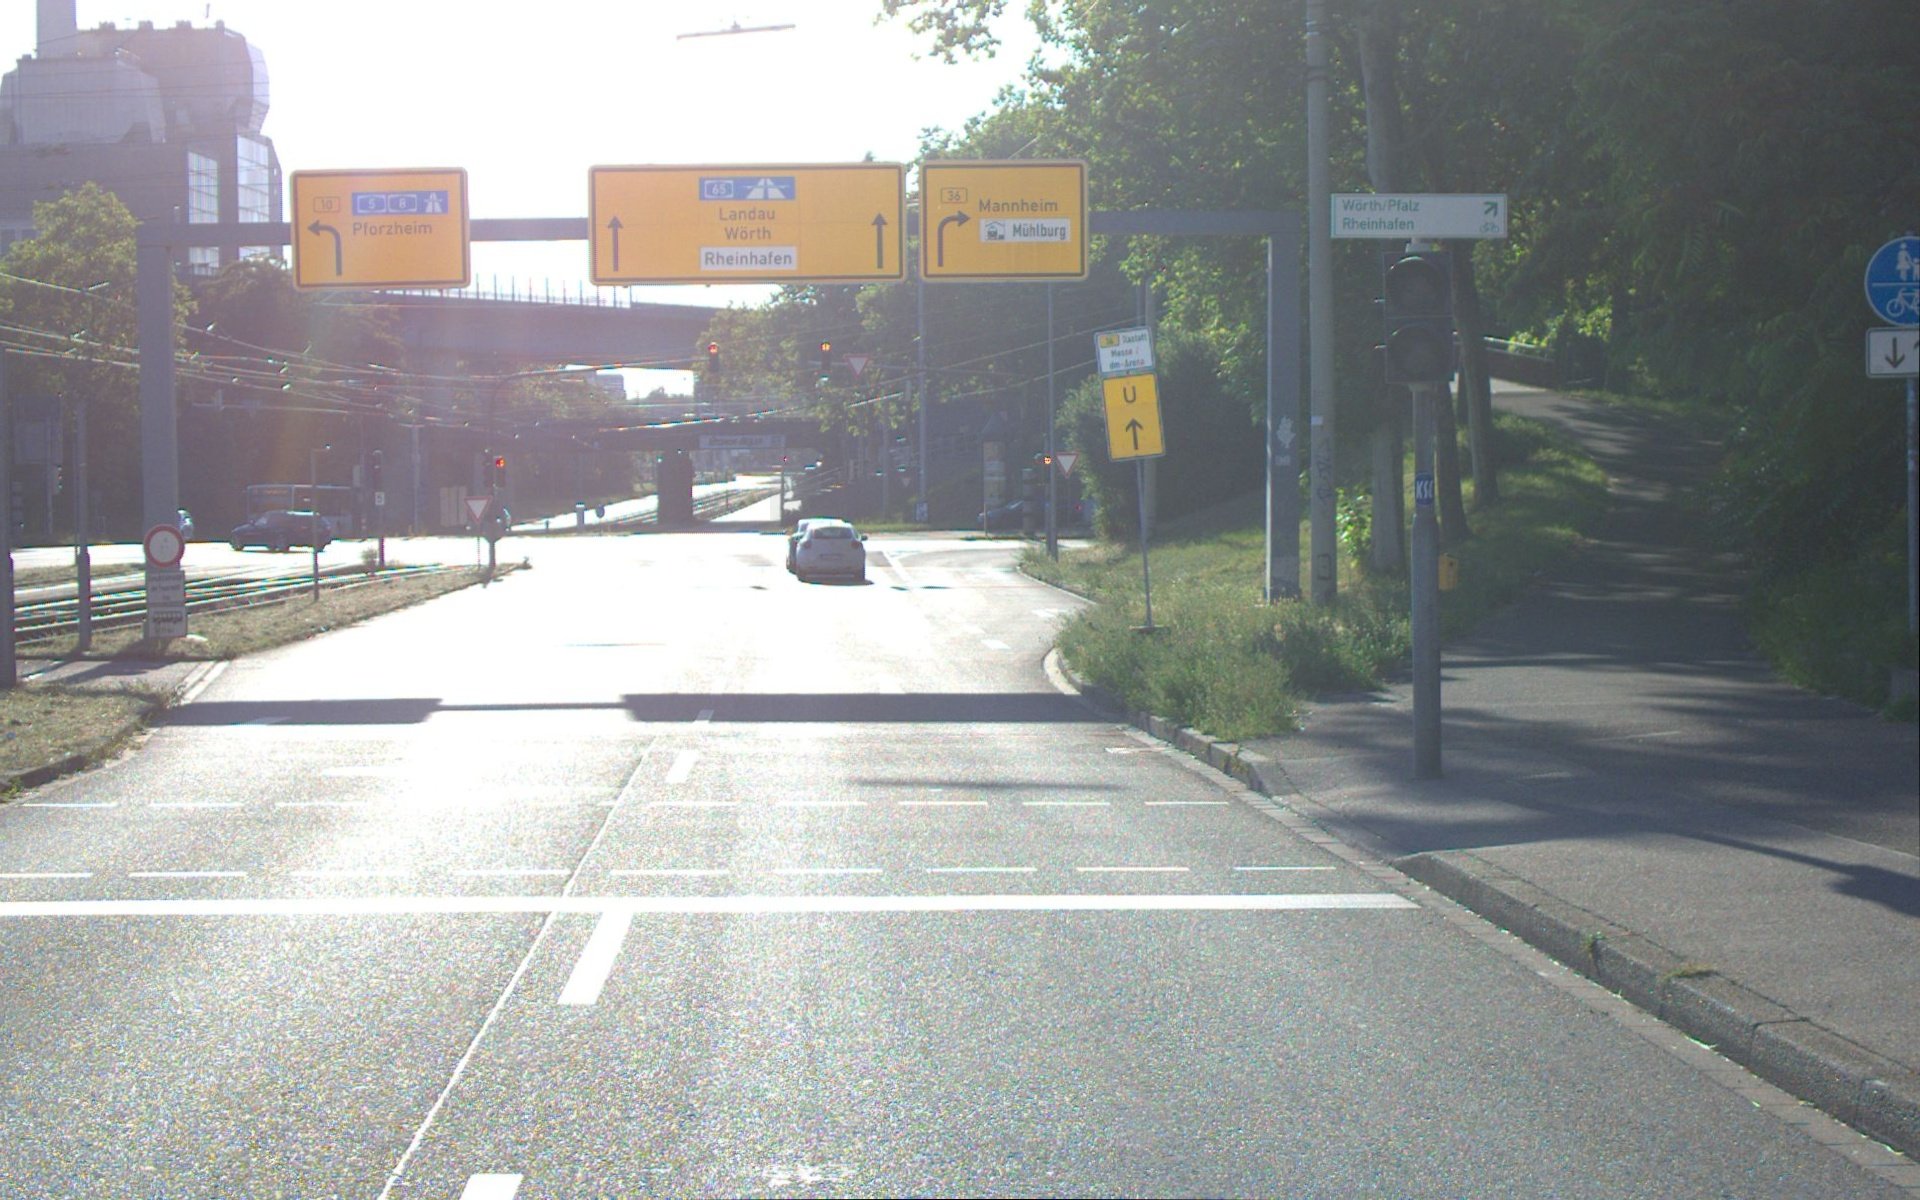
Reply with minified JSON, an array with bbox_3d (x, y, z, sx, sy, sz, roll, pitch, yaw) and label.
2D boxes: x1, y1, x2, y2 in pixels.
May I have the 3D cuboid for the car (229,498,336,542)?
[{"bbox_3d":[-24.237,-2.879,122.916,3.997,1.500,1.738,2,3,43],"label":"car"}]

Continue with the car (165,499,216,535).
[{"bbox_3d":[-33.590,-3.616,150.118,1.606,1.507,4.009,0,2,-4],"label":"car"}]

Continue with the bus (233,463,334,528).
[{"bbox_3d":[-34.937,-5.329,177.970,2.543,3.119,12.918,-1,1,0],"label":"bus"}]

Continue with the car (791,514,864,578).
[{"bbox_3d":[-3.375,-1.392,87.169,1.736,1.500,4.001,-1,2,-3],"label":"car"}]
